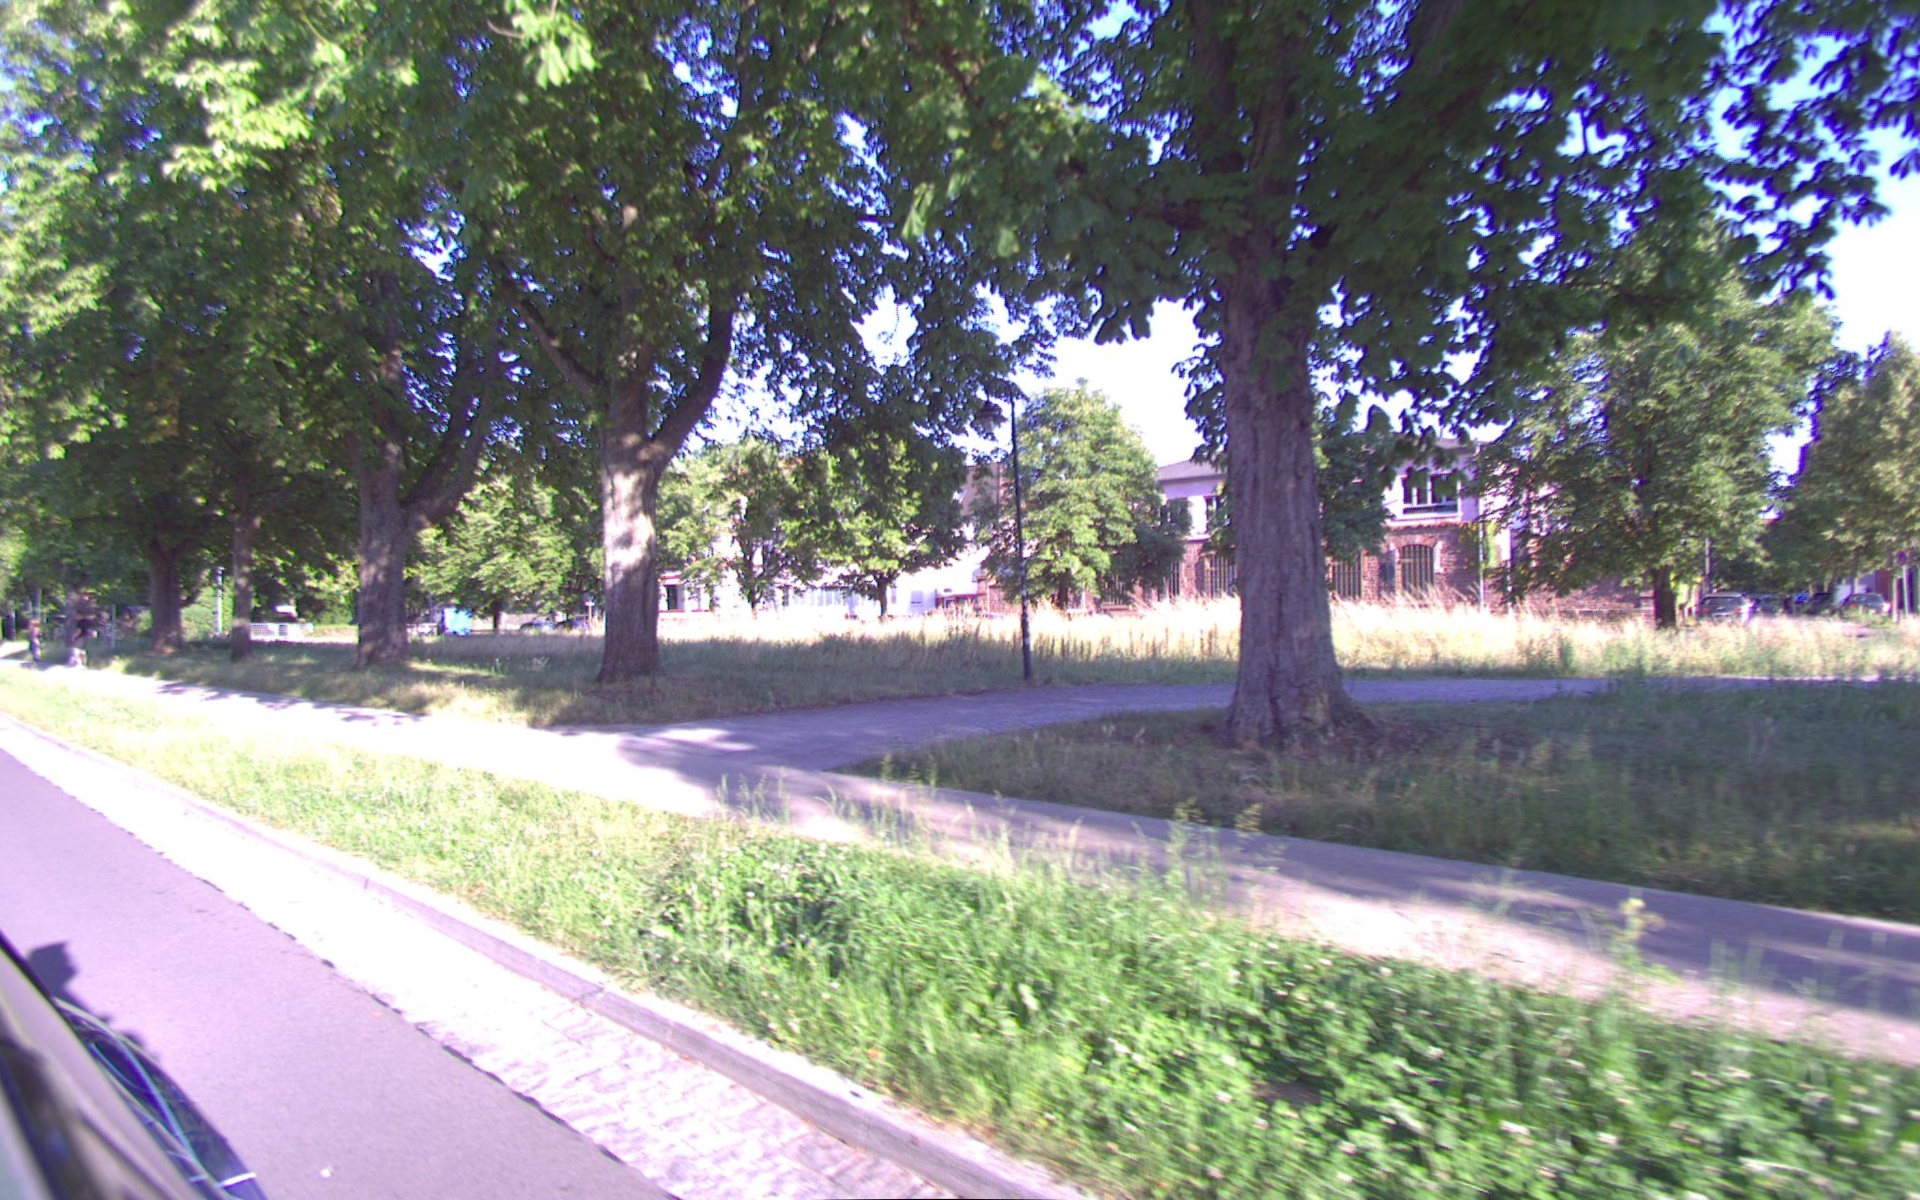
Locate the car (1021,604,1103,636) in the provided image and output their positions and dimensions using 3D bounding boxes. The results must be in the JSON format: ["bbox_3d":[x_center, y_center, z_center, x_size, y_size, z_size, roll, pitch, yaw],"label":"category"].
[{"bbox_3d":[5.089,0.979,50.844,3.793,1.490,1.744,-1,1,41],"label":"car"}]

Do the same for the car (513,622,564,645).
[{"bbox_3d":[-32.064,2.562,76.935,4.424,1.641,1.849,-2,0,41],"label":"car"}]

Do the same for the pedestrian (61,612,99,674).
[{"bbox_3d":[-27.201,1.320,31.291,0.616,1.865,0.606,-1,0,-9],"label":"pedestrian"}]

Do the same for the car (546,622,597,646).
[{"bbox_3d":[-28.206,2.440,73.472,3.998,1.641,1.744,-2,0,41],"label":"car"}]

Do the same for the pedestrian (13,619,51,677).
[{"bbox_3d":[-27.350,1.404,29.831,0.616,1.643,0.607,-1,0,-23],"label":"pedestrian"}]

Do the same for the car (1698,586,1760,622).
[{"bbox_3d":[30.041,0.156,39.504,1.586,1.290,3.589,-1,1,42],"label":"car"}]
